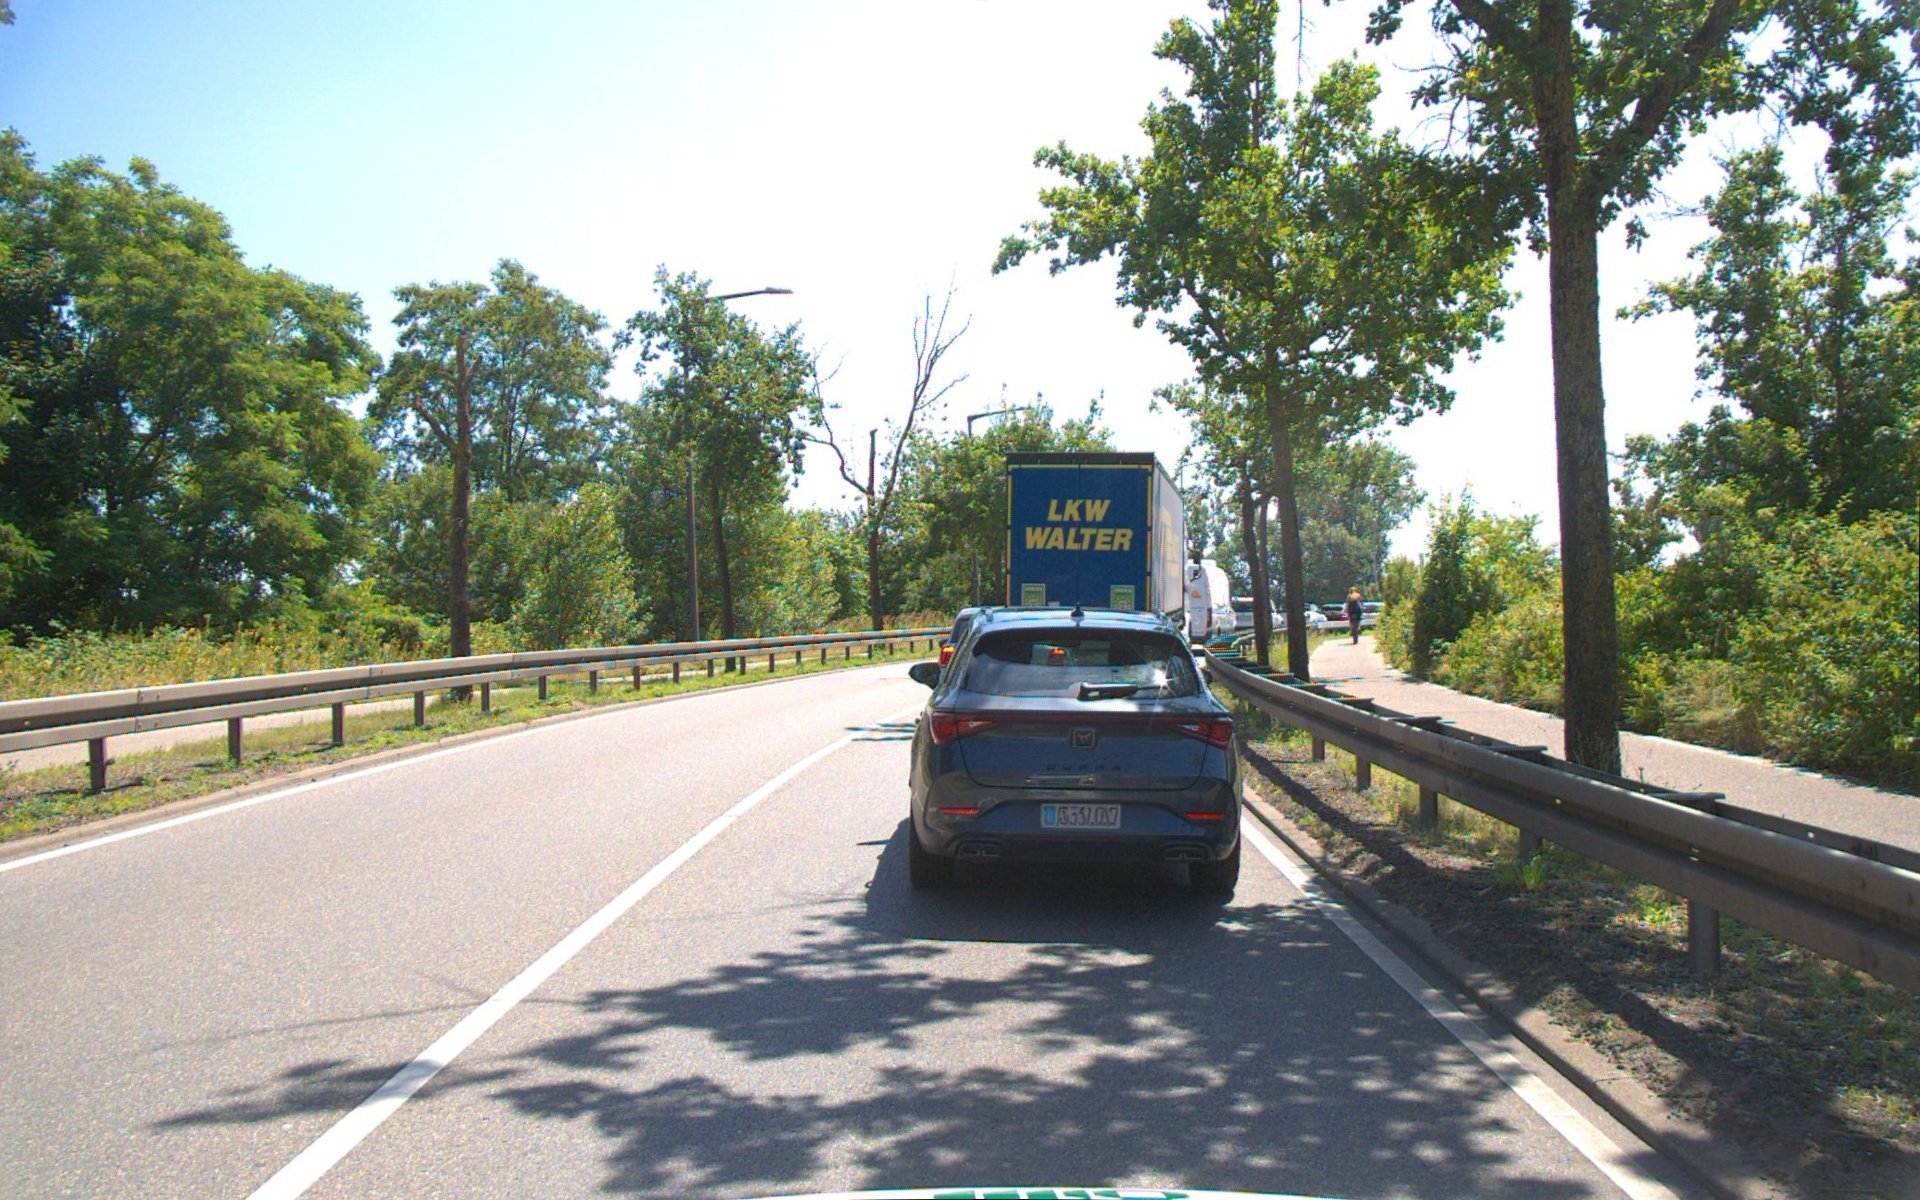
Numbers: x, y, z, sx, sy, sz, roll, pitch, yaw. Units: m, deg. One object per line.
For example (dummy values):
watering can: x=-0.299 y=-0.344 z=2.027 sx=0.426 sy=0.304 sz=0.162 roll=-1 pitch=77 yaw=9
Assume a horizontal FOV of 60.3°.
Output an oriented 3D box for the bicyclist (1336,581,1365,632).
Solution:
bicyclist: x=12.259 y=0.204 z=51.933 sx=0.842 sy=1.550 sz=0.981 roll=1 pitch=-1 yaw=11

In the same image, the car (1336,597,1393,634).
car: x=20.435 y=0.785 z=83.436 sx=1.954 sy=1.799 sz=4.751 roll=0 pitch=0 yaw=25

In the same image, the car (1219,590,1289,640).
car: x=10.948 y=0.553 z=61.372 sx=1.952 sy=1.742 sz=4.622 roll=1 pitch=0 yaw=18

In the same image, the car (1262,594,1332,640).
car: x=14.187 y=0.694 z=69.391 sx=1.953 sy=1.840 sz=4.844 roll=0 pitch=0 yaw=23

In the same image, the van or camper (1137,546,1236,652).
van or camper: x=7.102 y=-0.016 z=51.273 sx=2.414 sy=3.051 sz=6.091 roll=1 pitch=0 yaw=14

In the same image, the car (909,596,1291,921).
car: x=0.580 y=0.729 z=9.420 sx=1.709 sy=1.457 sz=3.878 roll=1 pitch=0 yaw=-2

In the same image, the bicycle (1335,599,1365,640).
bicycle: x=12.261 y=0.608 z=52.033 sx=0.842 sy=1.258 sz=2.311 roll=1 pitch=0 yaw=11

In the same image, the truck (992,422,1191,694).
truck: x=3.345 y=-0.662 z=35.961 sx=2.887 sy=4.527 sz=16.811 roll=1 pitch=0 yaw=9

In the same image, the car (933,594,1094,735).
car: x=0.701 y=0.726 z=20.351 sx=1.771 sy=1.534 sz=4.001 roll=1 pitch=0 yaw=3

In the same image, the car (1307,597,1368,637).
car: x=17.602 y=0.780 z=76.990 sx=1.953 sy=1.747 sz=4.867 roll=0 pitch=0 yaw=23
